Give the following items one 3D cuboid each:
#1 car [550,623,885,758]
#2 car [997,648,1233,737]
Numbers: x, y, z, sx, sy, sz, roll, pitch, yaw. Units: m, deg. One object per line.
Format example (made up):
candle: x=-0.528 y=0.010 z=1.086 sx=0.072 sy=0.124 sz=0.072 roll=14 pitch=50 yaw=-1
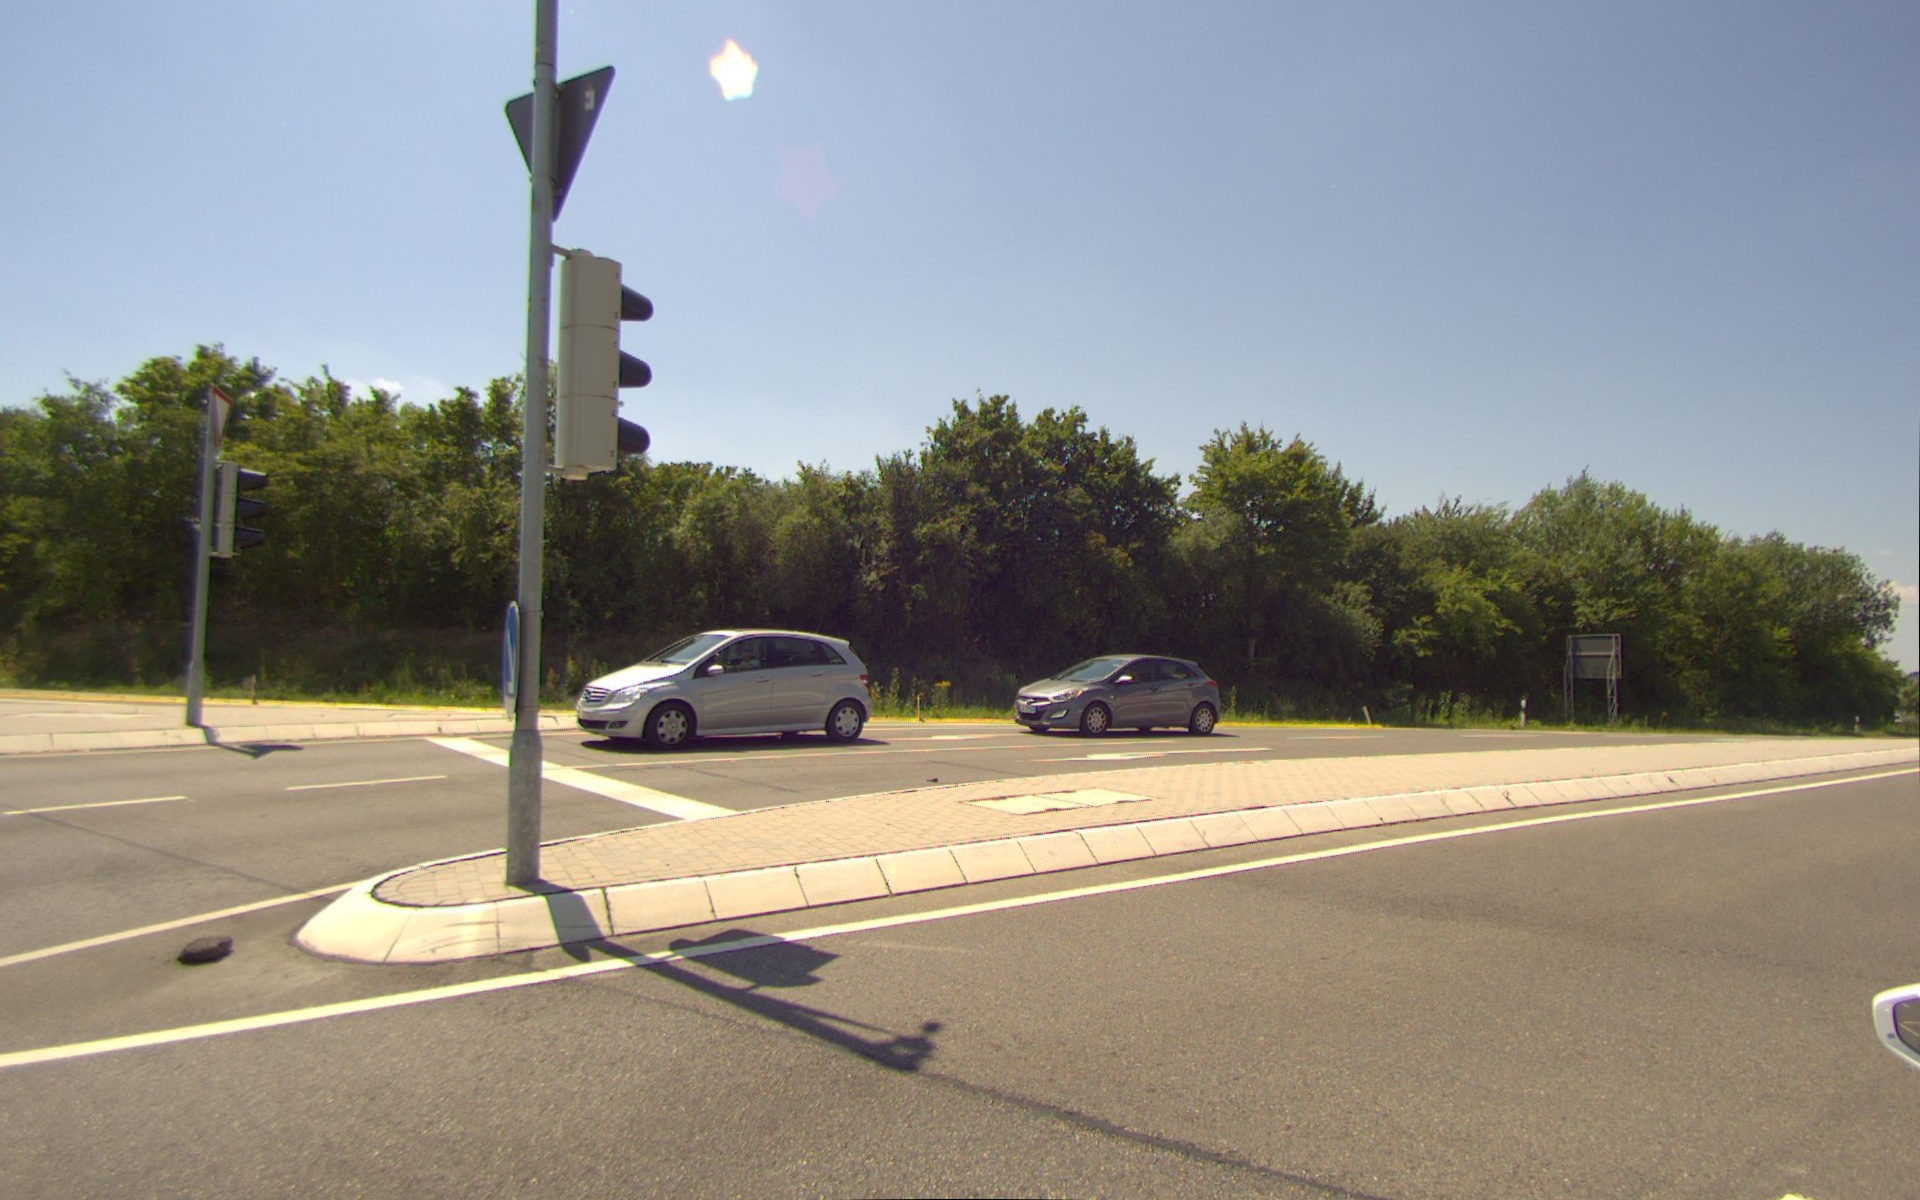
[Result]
car: x=-3.310 y=1.214 z=14.270 sx=4.298 sy=1.616 sz=1.755 roll=4 pitch=-3 yaw=-42
car: x=2.926 y=1.748 z=18.632 sx=4.283 sy=1.474 sz=1.683 roll=5 pitch=-6 yaw=-32
